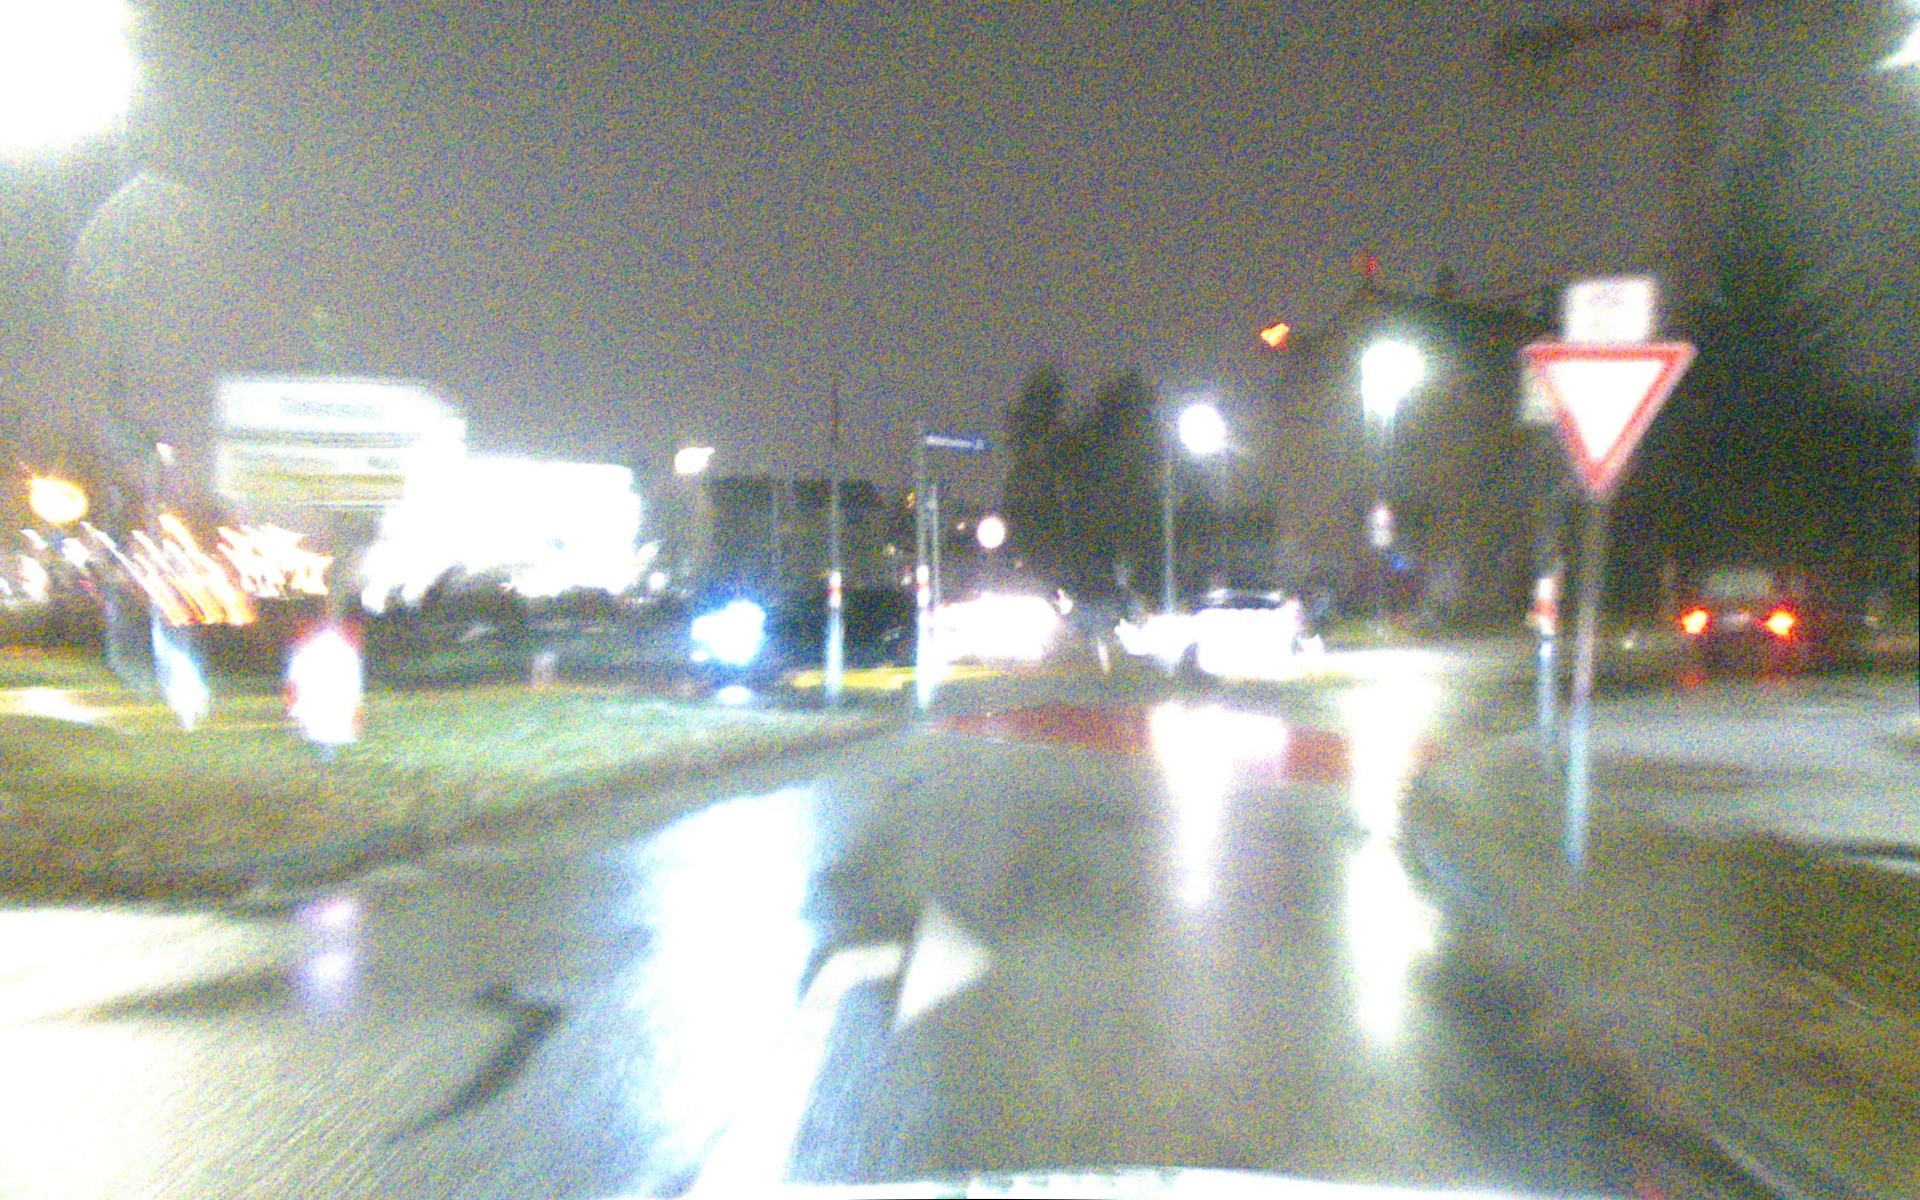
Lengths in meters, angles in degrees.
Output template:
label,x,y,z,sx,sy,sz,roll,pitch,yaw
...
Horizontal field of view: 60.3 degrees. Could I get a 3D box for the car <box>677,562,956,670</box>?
label,x,y,z,sx,sy,sz,roll,pitch,yaw
car,-2.531,0.238,29.311,4.551,1.766,1.982,0,1,-28

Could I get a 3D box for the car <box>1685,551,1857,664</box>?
label,x,y,z,sx,sy,sz,roll,pitch,yaw
car,15.966,0.091,32.451,1.964,2.048,4.532,1,2,41

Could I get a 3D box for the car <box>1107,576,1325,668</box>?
label,x,y,z,sx,sy,sz,roll,pitch,yaw
car,5.353,0.419,34.495,4.335,1.788,1.859,0,1,-31
